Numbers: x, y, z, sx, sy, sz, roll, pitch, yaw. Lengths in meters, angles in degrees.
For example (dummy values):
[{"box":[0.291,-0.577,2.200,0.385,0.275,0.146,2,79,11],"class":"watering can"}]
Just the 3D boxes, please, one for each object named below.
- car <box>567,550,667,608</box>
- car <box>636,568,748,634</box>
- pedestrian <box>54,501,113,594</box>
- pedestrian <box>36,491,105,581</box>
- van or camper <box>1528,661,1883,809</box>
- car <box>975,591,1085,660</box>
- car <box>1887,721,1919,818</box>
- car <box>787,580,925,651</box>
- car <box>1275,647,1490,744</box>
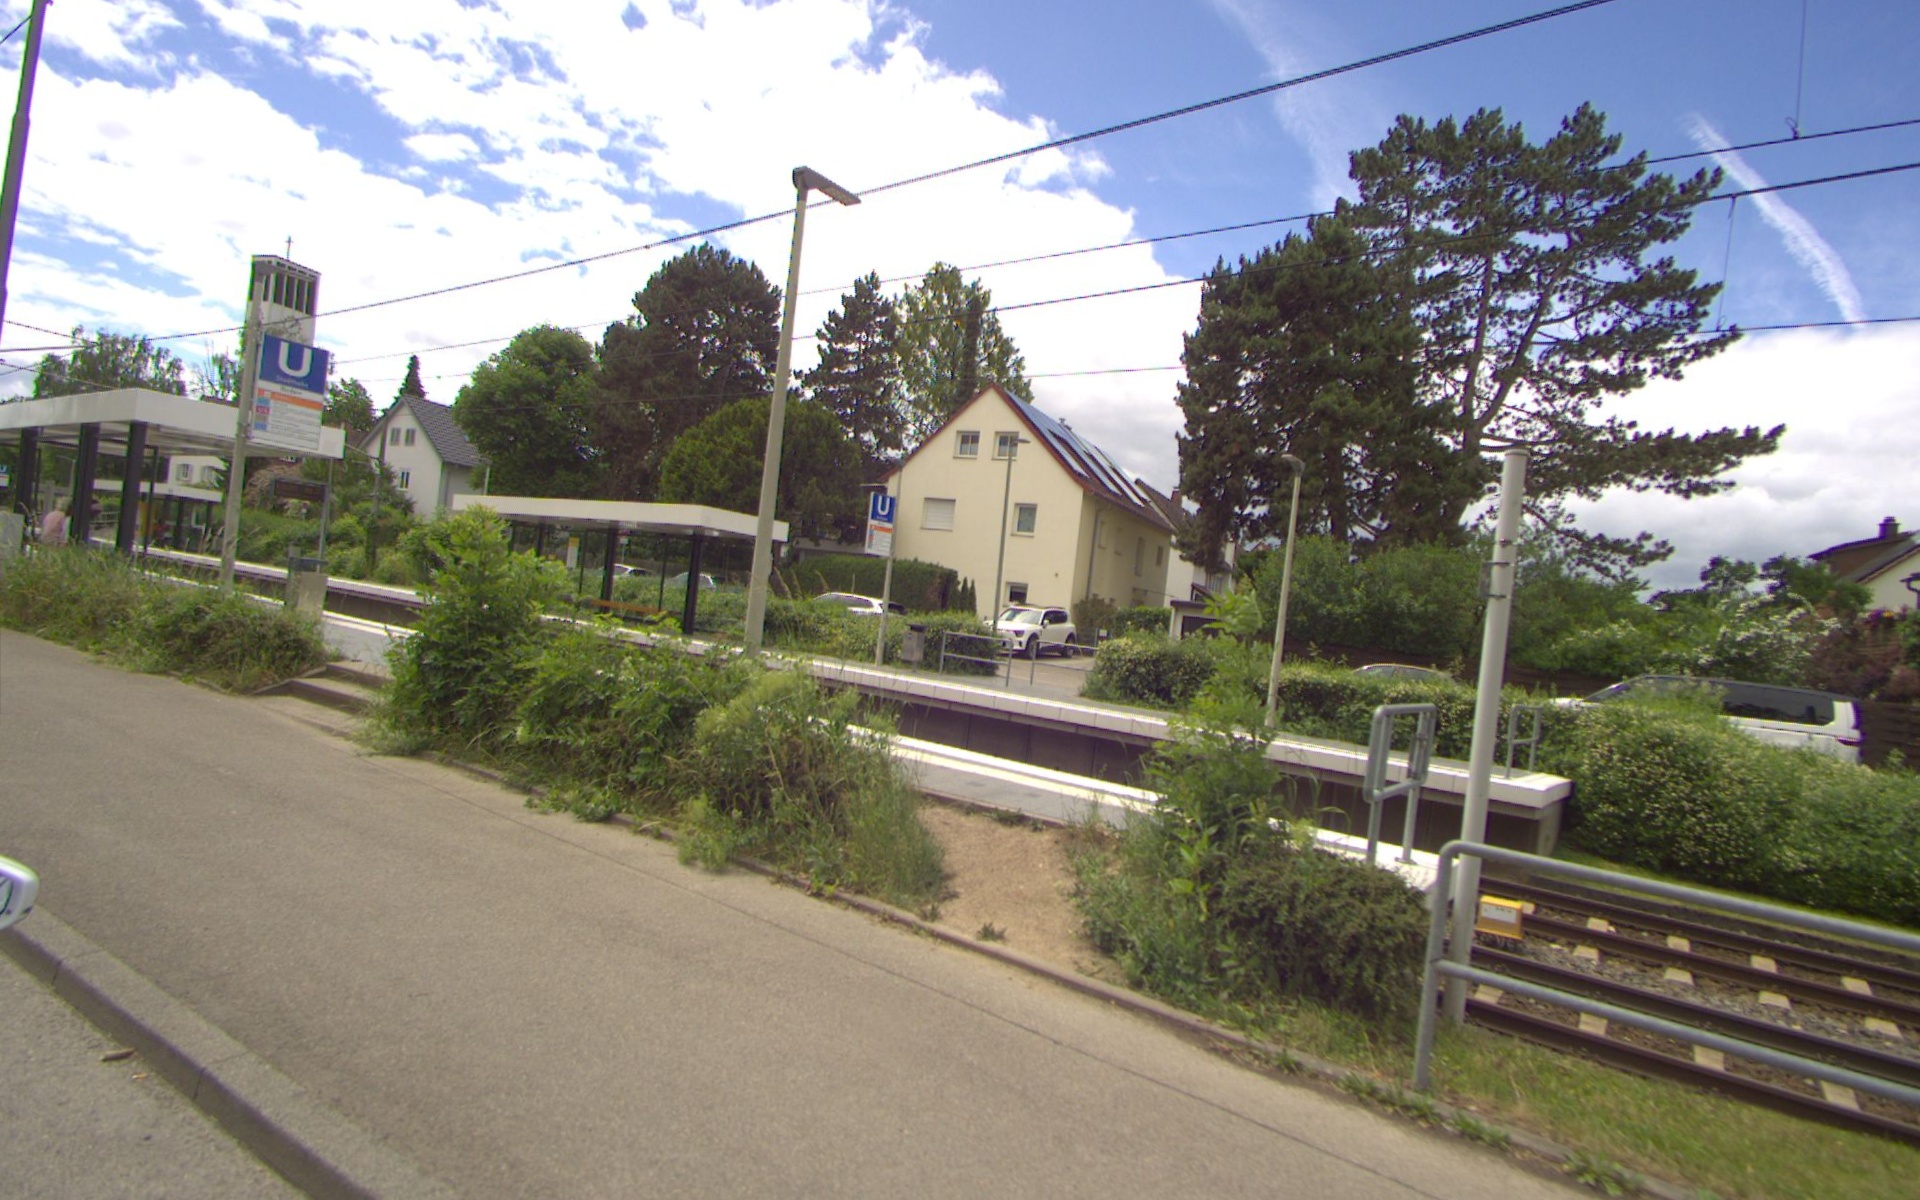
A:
[{"box":[-13.548,-0.837,39.676,3.876,1.772,1.733,6,-2,38],"class":"car"},{"box":[-9.788,0.030,36.671,3.875,1.935,1.734,5,-3,37],"class":"car"},{"box":[-13.481,-0.803,15.474,0.390,1.360,0.486,7,0,36],"class":"pedestrian"},{"box":[-15.001,-1.071,16.966,0.727,1.396,0.583,7,0,33],"class":"pedestrian"},{"box":[13.724,2.416,18.878,4.972,1.848,1.905,6,-1,38],"class":"van or camper"},{"box":[2.408,0.864,33.368,1.717,1.969,4.330,7,2,31],"class":"car"},{"box":[17.575,2.995,15.942,3.940,1.540,1.883,6,-1,38],"class":"car"},{"box":[-3.318,0.474,31.907,3.933,1.682,1.779,7,-1,31],"class":"car"},{"box":[9.322,2.074,22.314,3.940,1.540,1.883,6,-1,38],"class":"car"}]
